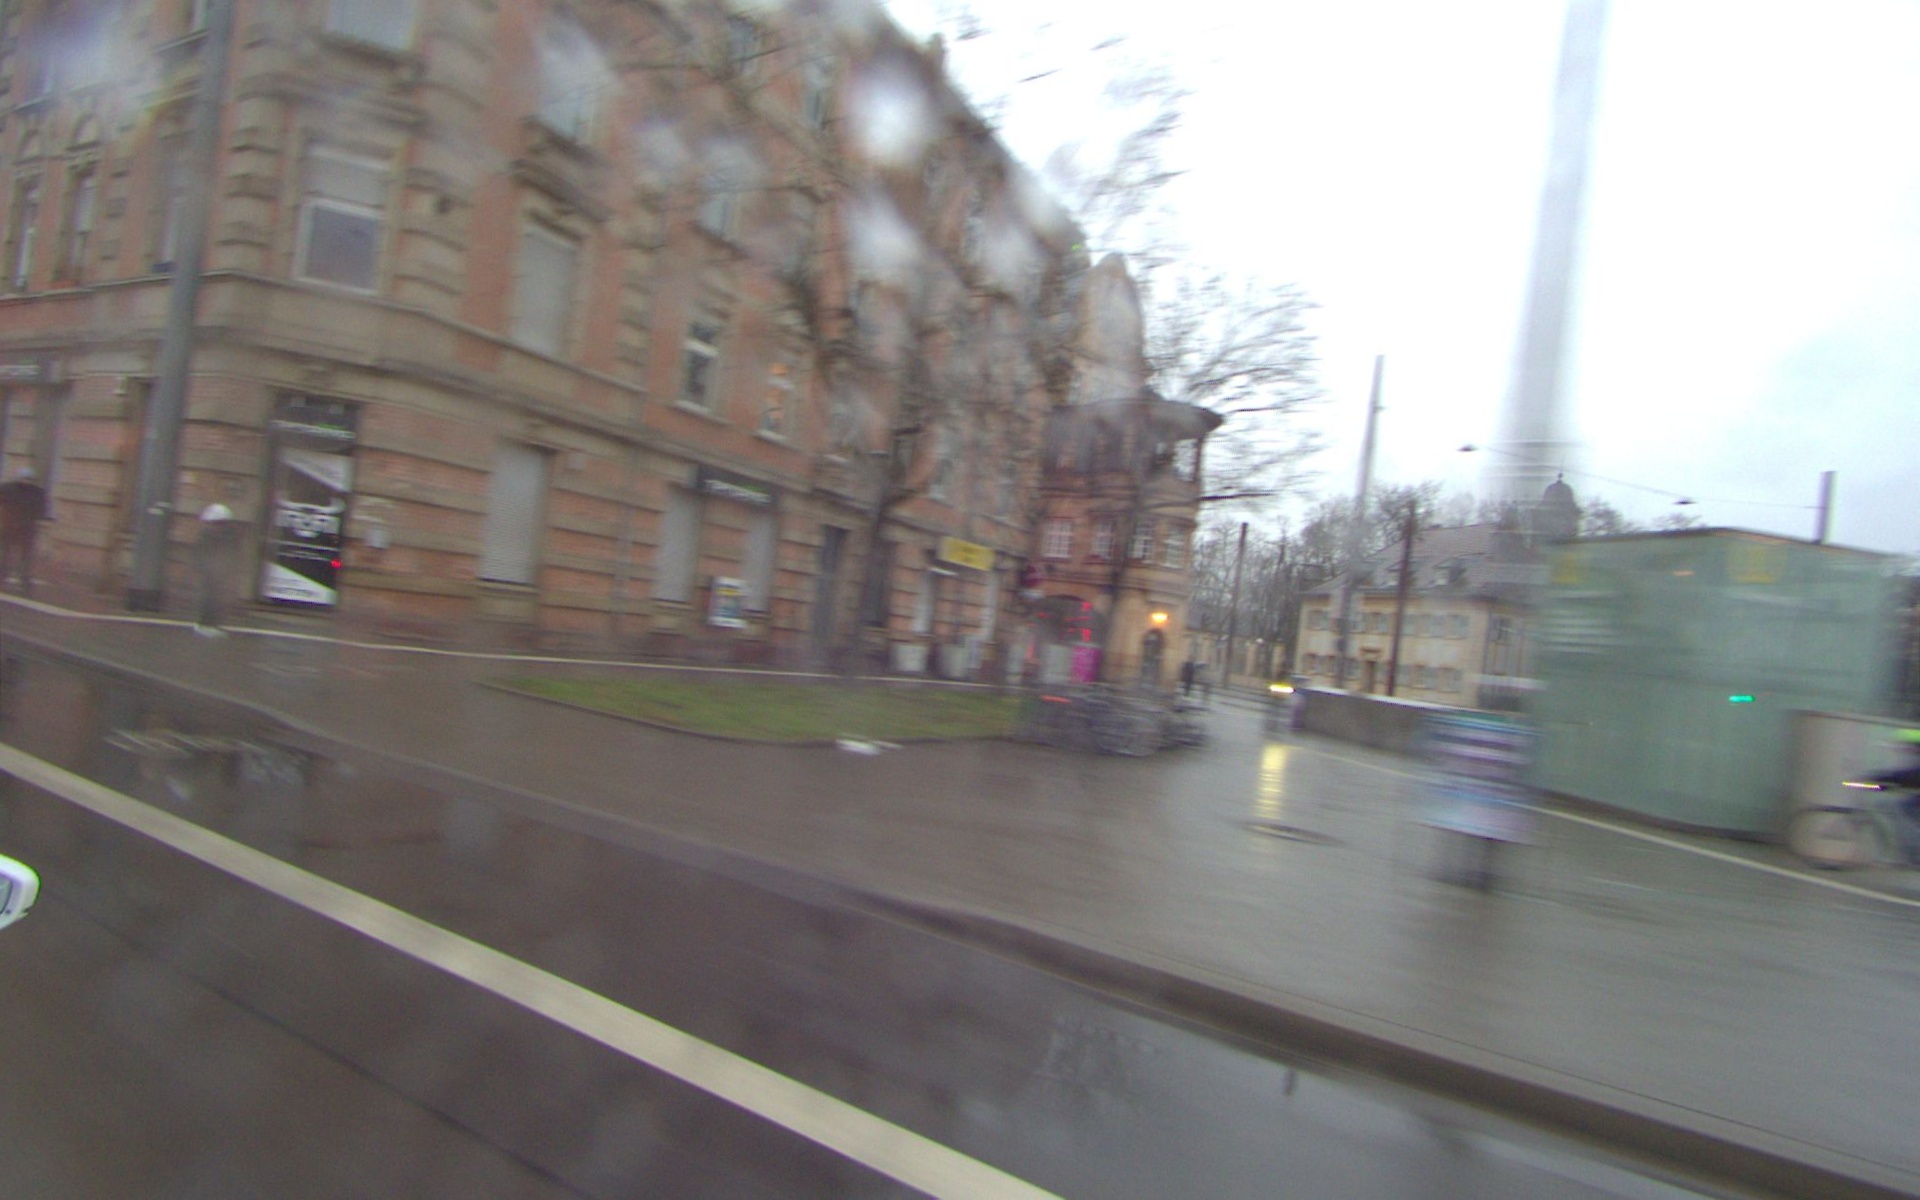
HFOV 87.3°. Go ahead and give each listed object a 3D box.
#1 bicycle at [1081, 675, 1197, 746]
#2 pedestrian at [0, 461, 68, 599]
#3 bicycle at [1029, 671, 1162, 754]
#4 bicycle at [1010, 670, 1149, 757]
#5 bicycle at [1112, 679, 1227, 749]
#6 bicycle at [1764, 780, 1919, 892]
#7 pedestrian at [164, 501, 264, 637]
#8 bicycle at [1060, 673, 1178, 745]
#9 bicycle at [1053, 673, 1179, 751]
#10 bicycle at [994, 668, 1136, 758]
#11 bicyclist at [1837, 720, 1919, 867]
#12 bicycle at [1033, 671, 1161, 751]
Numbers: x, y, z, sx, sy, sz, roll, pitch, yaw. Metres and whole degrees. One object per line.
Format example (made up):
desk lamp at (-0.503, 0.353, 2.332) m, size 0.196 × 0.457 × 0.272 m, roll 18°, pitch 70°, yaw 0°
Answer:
bicycle at (3.192, 1.966, 18.048) m, size 1.911 × 0.964 × 0.455 m, roll 7°, pitch -1°, yaw 31°
pedestrian at (-13.401, -0.998, 14.292) m, size 0.699 × 1.846 × 0.752 m, roll 7°, pitch -1°, yaw 31°
bicycle at (2.071, 1.714, 15.531) m, size 1.911 × 0.964 × 0.455 m, roll 7°, pitch -1°, yaw 31°
bicycle at (1.742, 1.644, 14.817) m, size 1.911 × 0.964 × 0.455 m, roll 7°, pitch -1°, yaw 31°
bicycle at (3.809, 2.058, 18.352) m, size 1.911 × 0.964 × 0.455 m, roll 7°, pitch -1°, yaw 31°
bicycle at (10.260, 2.647, 10.969) m, size 0.597 × 0.917 × 2.212 m, roll 8°, pitch -1°, yaw -45°
pedestrian at (-9.217, -0.375, 12.429) m, size 0.699 × 1.566 × 0.633 m, roll 7°, pitch -1°, yaw 32°
bicycle at (2.779, 1.894, 17.674) m, size 1.911 × 0.964 × 0.455 m, roll 7°, pitch -1°, yaw 31°
bicycle at (2.536, 1.817, 16.476) m, size 1.911 × 0.964 × 0.455 m, roll 7°, pitch -1°, yaw 31°
bicycle at (1.475, 1.588, 14.352) m, size 1.911 × 0.964 × 0.455 m, roll 7°, pitch -1°, yaw 31°
bicyclist at (10.326, 2.118, 10.973) m, size 0.588 × 1.459 × 0.995 m, roll 8°, pitch -1°, yaw -44°
bicycle at (2.168, 1.749, 16.066) m, size 1.911 × 0.964 × 0.455 m, roll 7°, pitch -1°, yaw 31°
